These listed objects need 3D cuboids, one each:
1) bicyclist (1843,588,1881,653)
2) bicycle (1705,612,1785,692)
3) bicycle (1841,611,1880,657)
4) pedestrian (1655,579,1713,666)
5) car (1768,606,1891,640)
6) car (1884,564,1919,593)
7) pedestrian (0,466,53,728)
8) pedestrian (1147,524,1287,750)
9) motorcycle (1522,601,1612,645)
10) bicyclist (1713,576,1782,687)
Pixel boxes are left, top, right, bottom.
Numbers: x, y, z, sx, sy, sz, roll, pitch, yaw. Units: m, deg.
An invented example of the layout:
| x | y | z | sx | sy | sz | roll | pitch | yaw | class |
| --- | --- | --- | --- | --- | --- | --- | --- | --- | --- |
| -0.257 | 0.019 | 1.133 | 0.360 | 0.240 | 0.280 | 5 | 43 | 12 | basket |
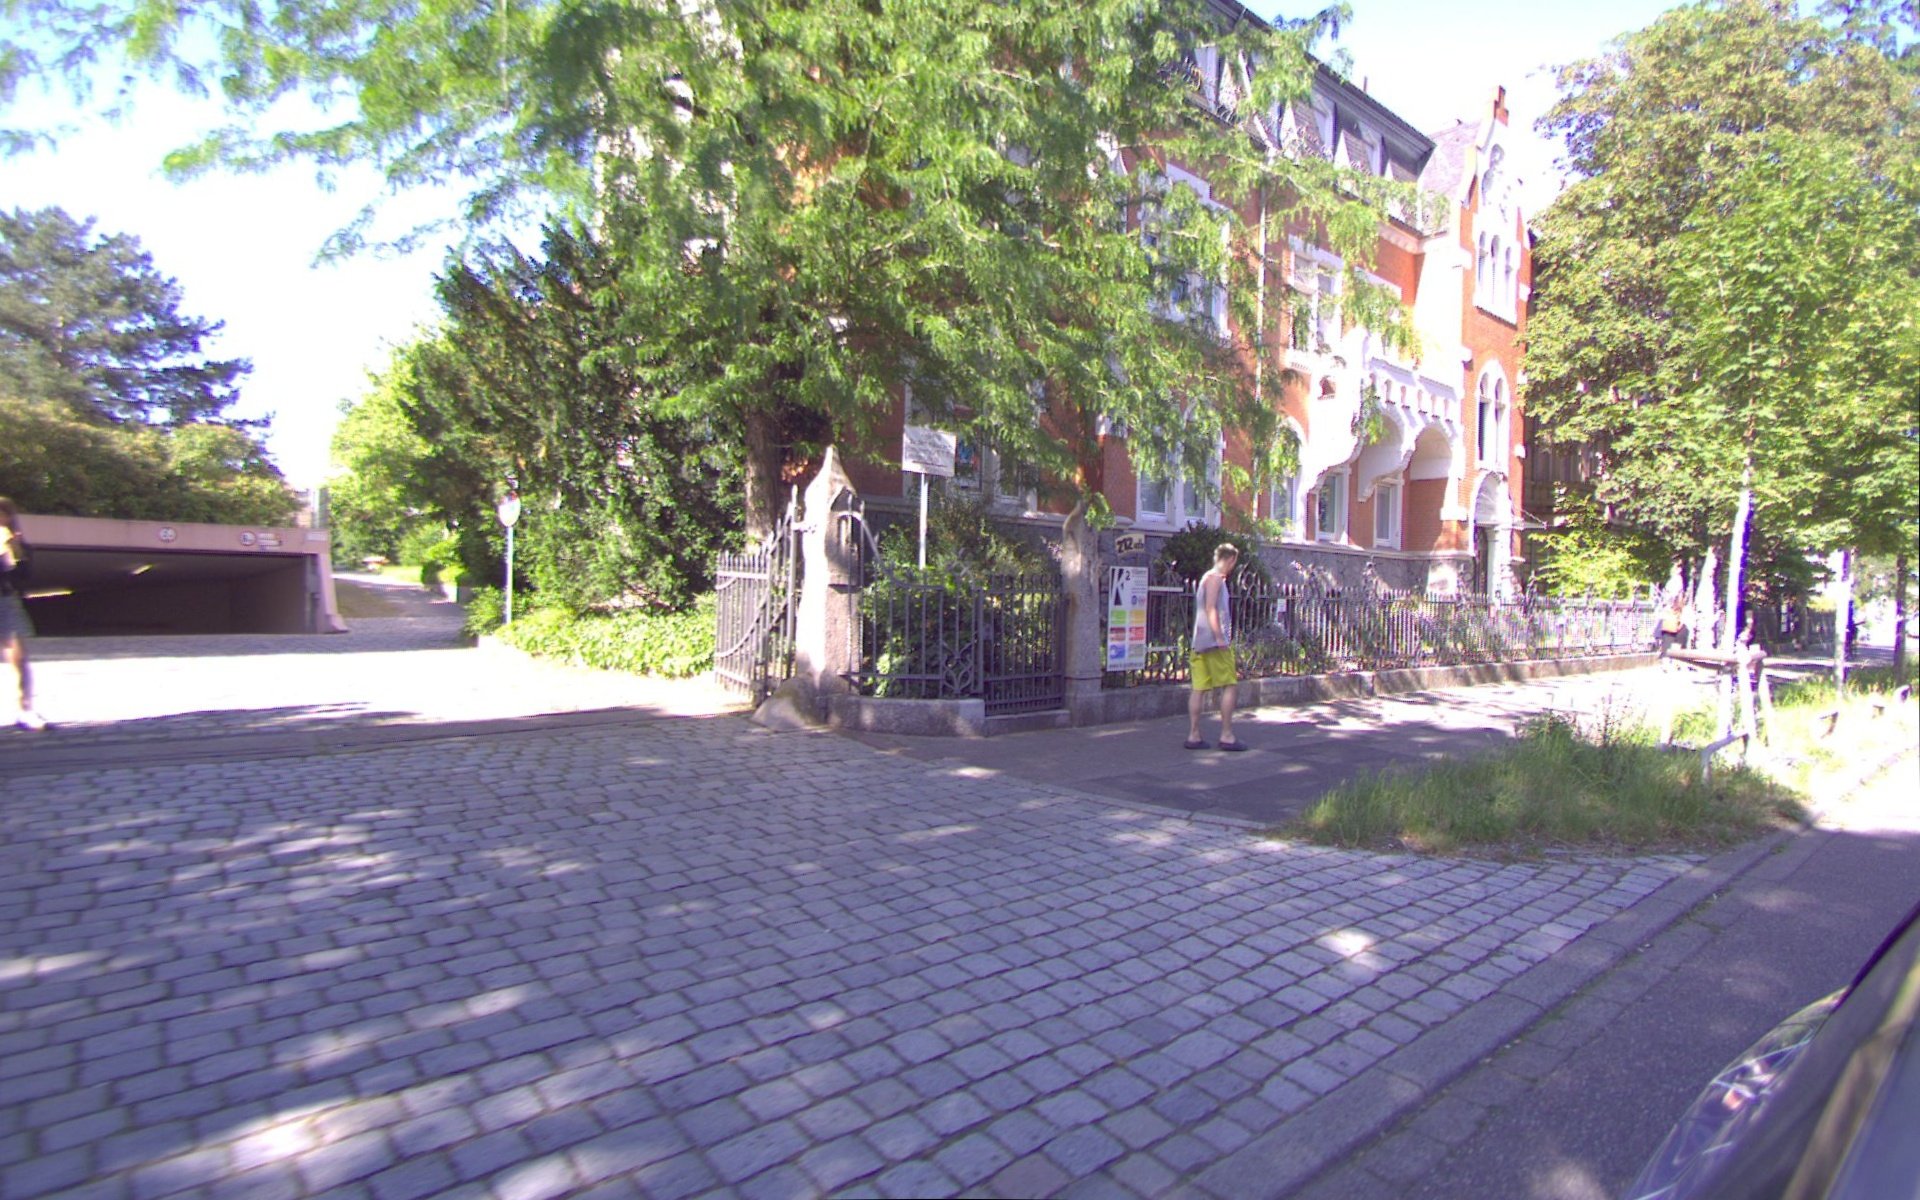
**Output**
| x | y | z | sx | sy | sz | roll | pitch | yaw | class |
| --- | --- | --- | --- | --- | --- | --- | --- | --- | --- |
| 24.783 | 0.563 | 27.793 | 0.807 | 1.711 | 0.621 | 1 | 3 | -45 | bicyclist |
| 12.856 | 0.823 | 16.559 | 1.811 | 1.191 | 0.654 | 1 | 3 | -42 | bicycle |
| 24.750 | 0.912 | 27.797 | 0.616 | 1.190 | 1.888 | 6 | 3 | 45 | bicycle |
| 14.562 | 0.441 | 20.365 | 0.806 | 1.678 | 0.696 | 0 | 4 | -42 | pedestrian |
| 43.891 | 1.129 | 51.176 | 2.010 | 1.435 | 4.417 | 1 | 2 | -39 | car |
| 53.441 | -1.207 | 56.999 | 1.843 | 1.458 | 4.039 | 5 | 3 | 45 | car |
| -6.545 | -0.030 | 6.858 | 0.538 | 1.731 | 0.508 | 3 | 1 | 41 | pedestrian |
| 2.156 | 0.286 | 8.570 | 0.794 | 1.809 | 0.752 | 3 | 2 | -12 | pedestrian |
| 16.135 | 0.592 | 26.955 | 0.766 | 1.044 | 1.883 | 0 | 3 | -32 | motorcycle |
| 12.896 | 0.501 | 16.566 | 0.874 | 1.716 | 0.646 | 2 | 3 | -42 | bicyclist |
